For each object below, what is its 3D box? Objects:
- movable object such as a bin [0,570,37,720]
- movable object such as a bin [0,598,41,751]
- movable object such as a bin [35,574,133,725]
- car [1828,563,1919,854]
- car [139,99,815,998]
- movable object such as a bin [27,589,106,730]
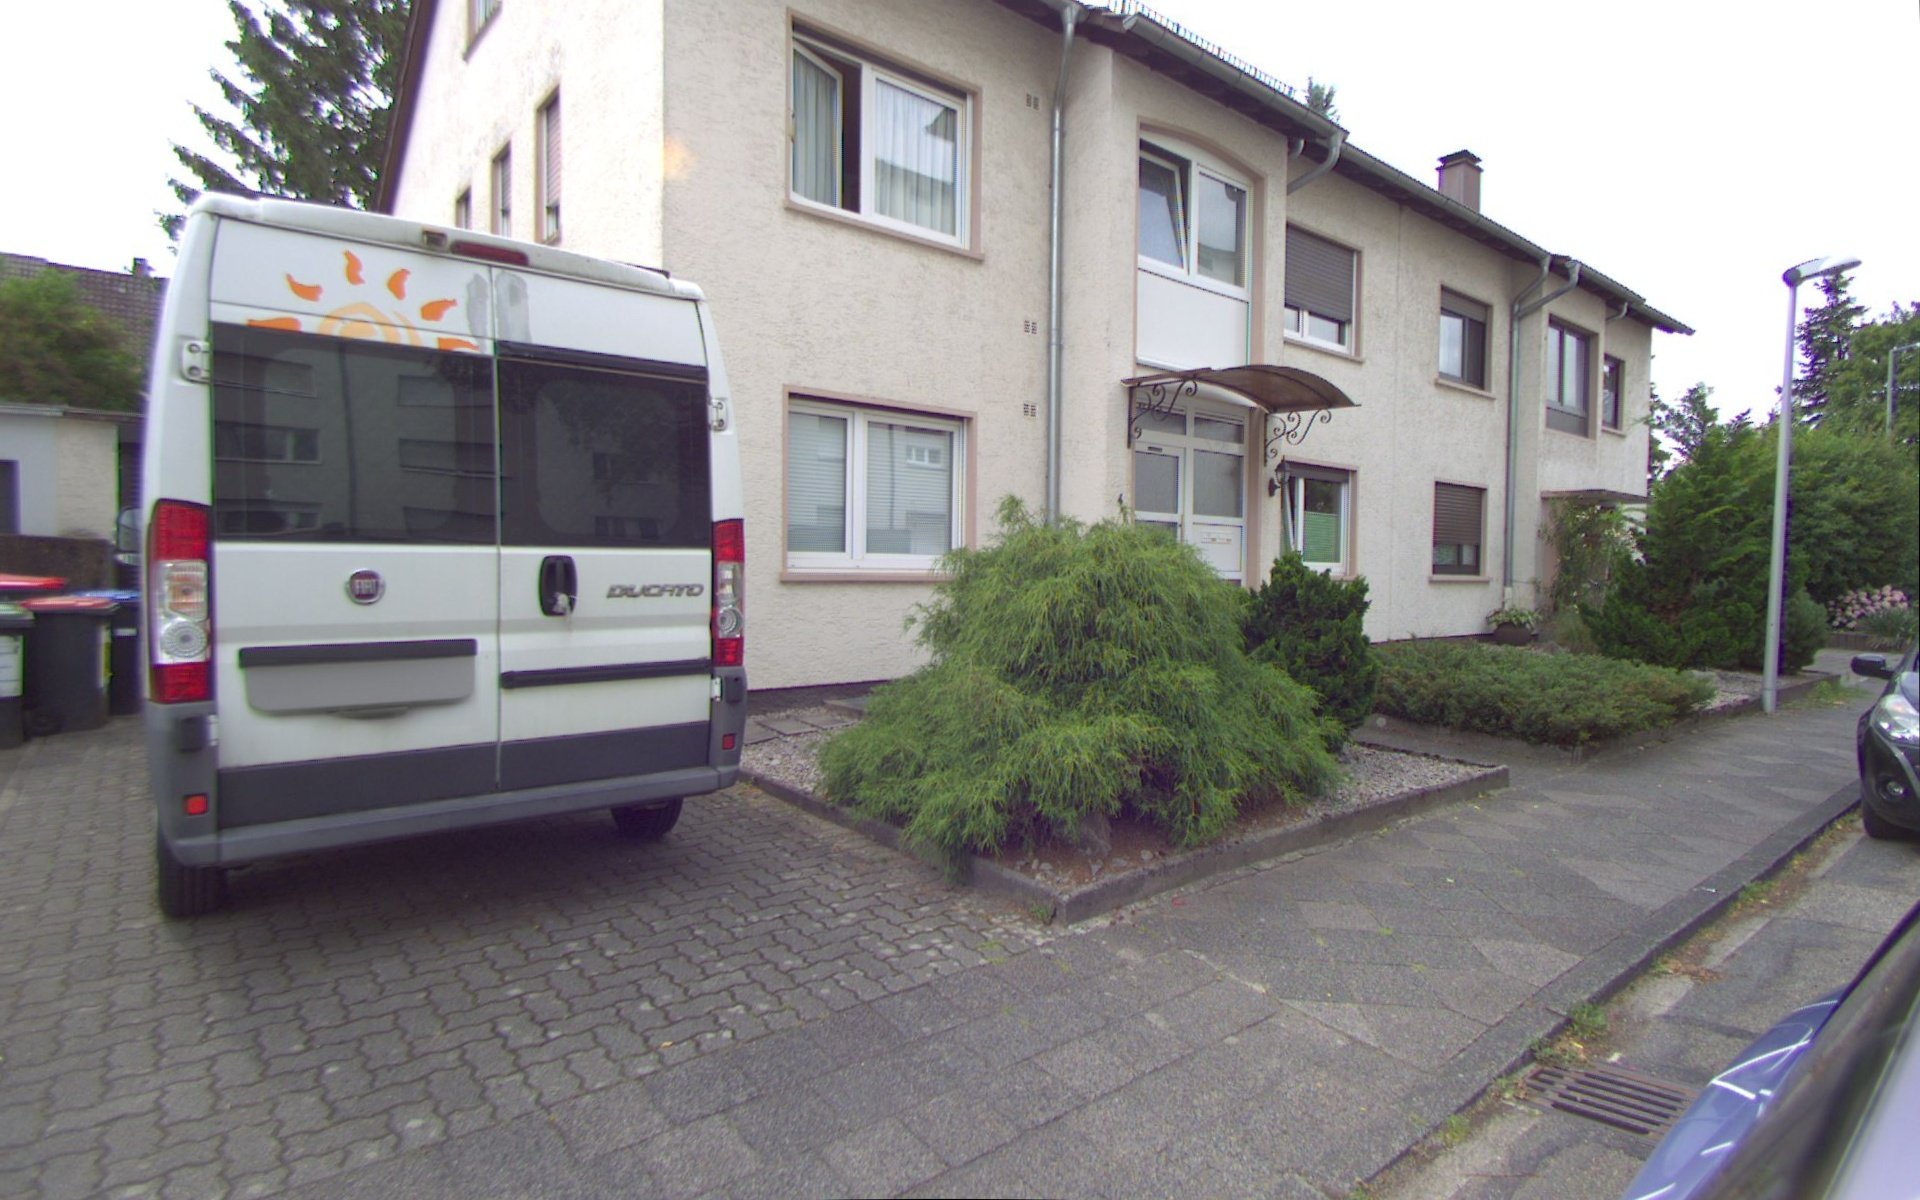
[{"bbox_3d":[-7.031,0.320,7.283,0.536,1.044,0.456,-1,4,-40],"label":"movable object such as a bin"},{"bbox_3d":[-6.315,0.476,6.573,0.473,0.937,0.520,-1,4,-40],"label":"movable object such as a bin"},{"bbox_3d":[-6.608,0.348,7.653,0.536,1.069,0.456,-1,4,-40],"label":"movable object such as a bin"},{"bbox_3d":[6.777,0.530,6.097,4.118,1.476,1.832,-1,2,-42],"label":"car"},{"bbox_3d":[-3.070,-0.288,5.593,2.197,2.573,5.102,-1,4,-38],"label":"car"},{"bbox_3d":[-6.352,0.406,7.210,0.395,0.937,0.450,-1,4,-40],"label":"movable object such as a bin"}]
